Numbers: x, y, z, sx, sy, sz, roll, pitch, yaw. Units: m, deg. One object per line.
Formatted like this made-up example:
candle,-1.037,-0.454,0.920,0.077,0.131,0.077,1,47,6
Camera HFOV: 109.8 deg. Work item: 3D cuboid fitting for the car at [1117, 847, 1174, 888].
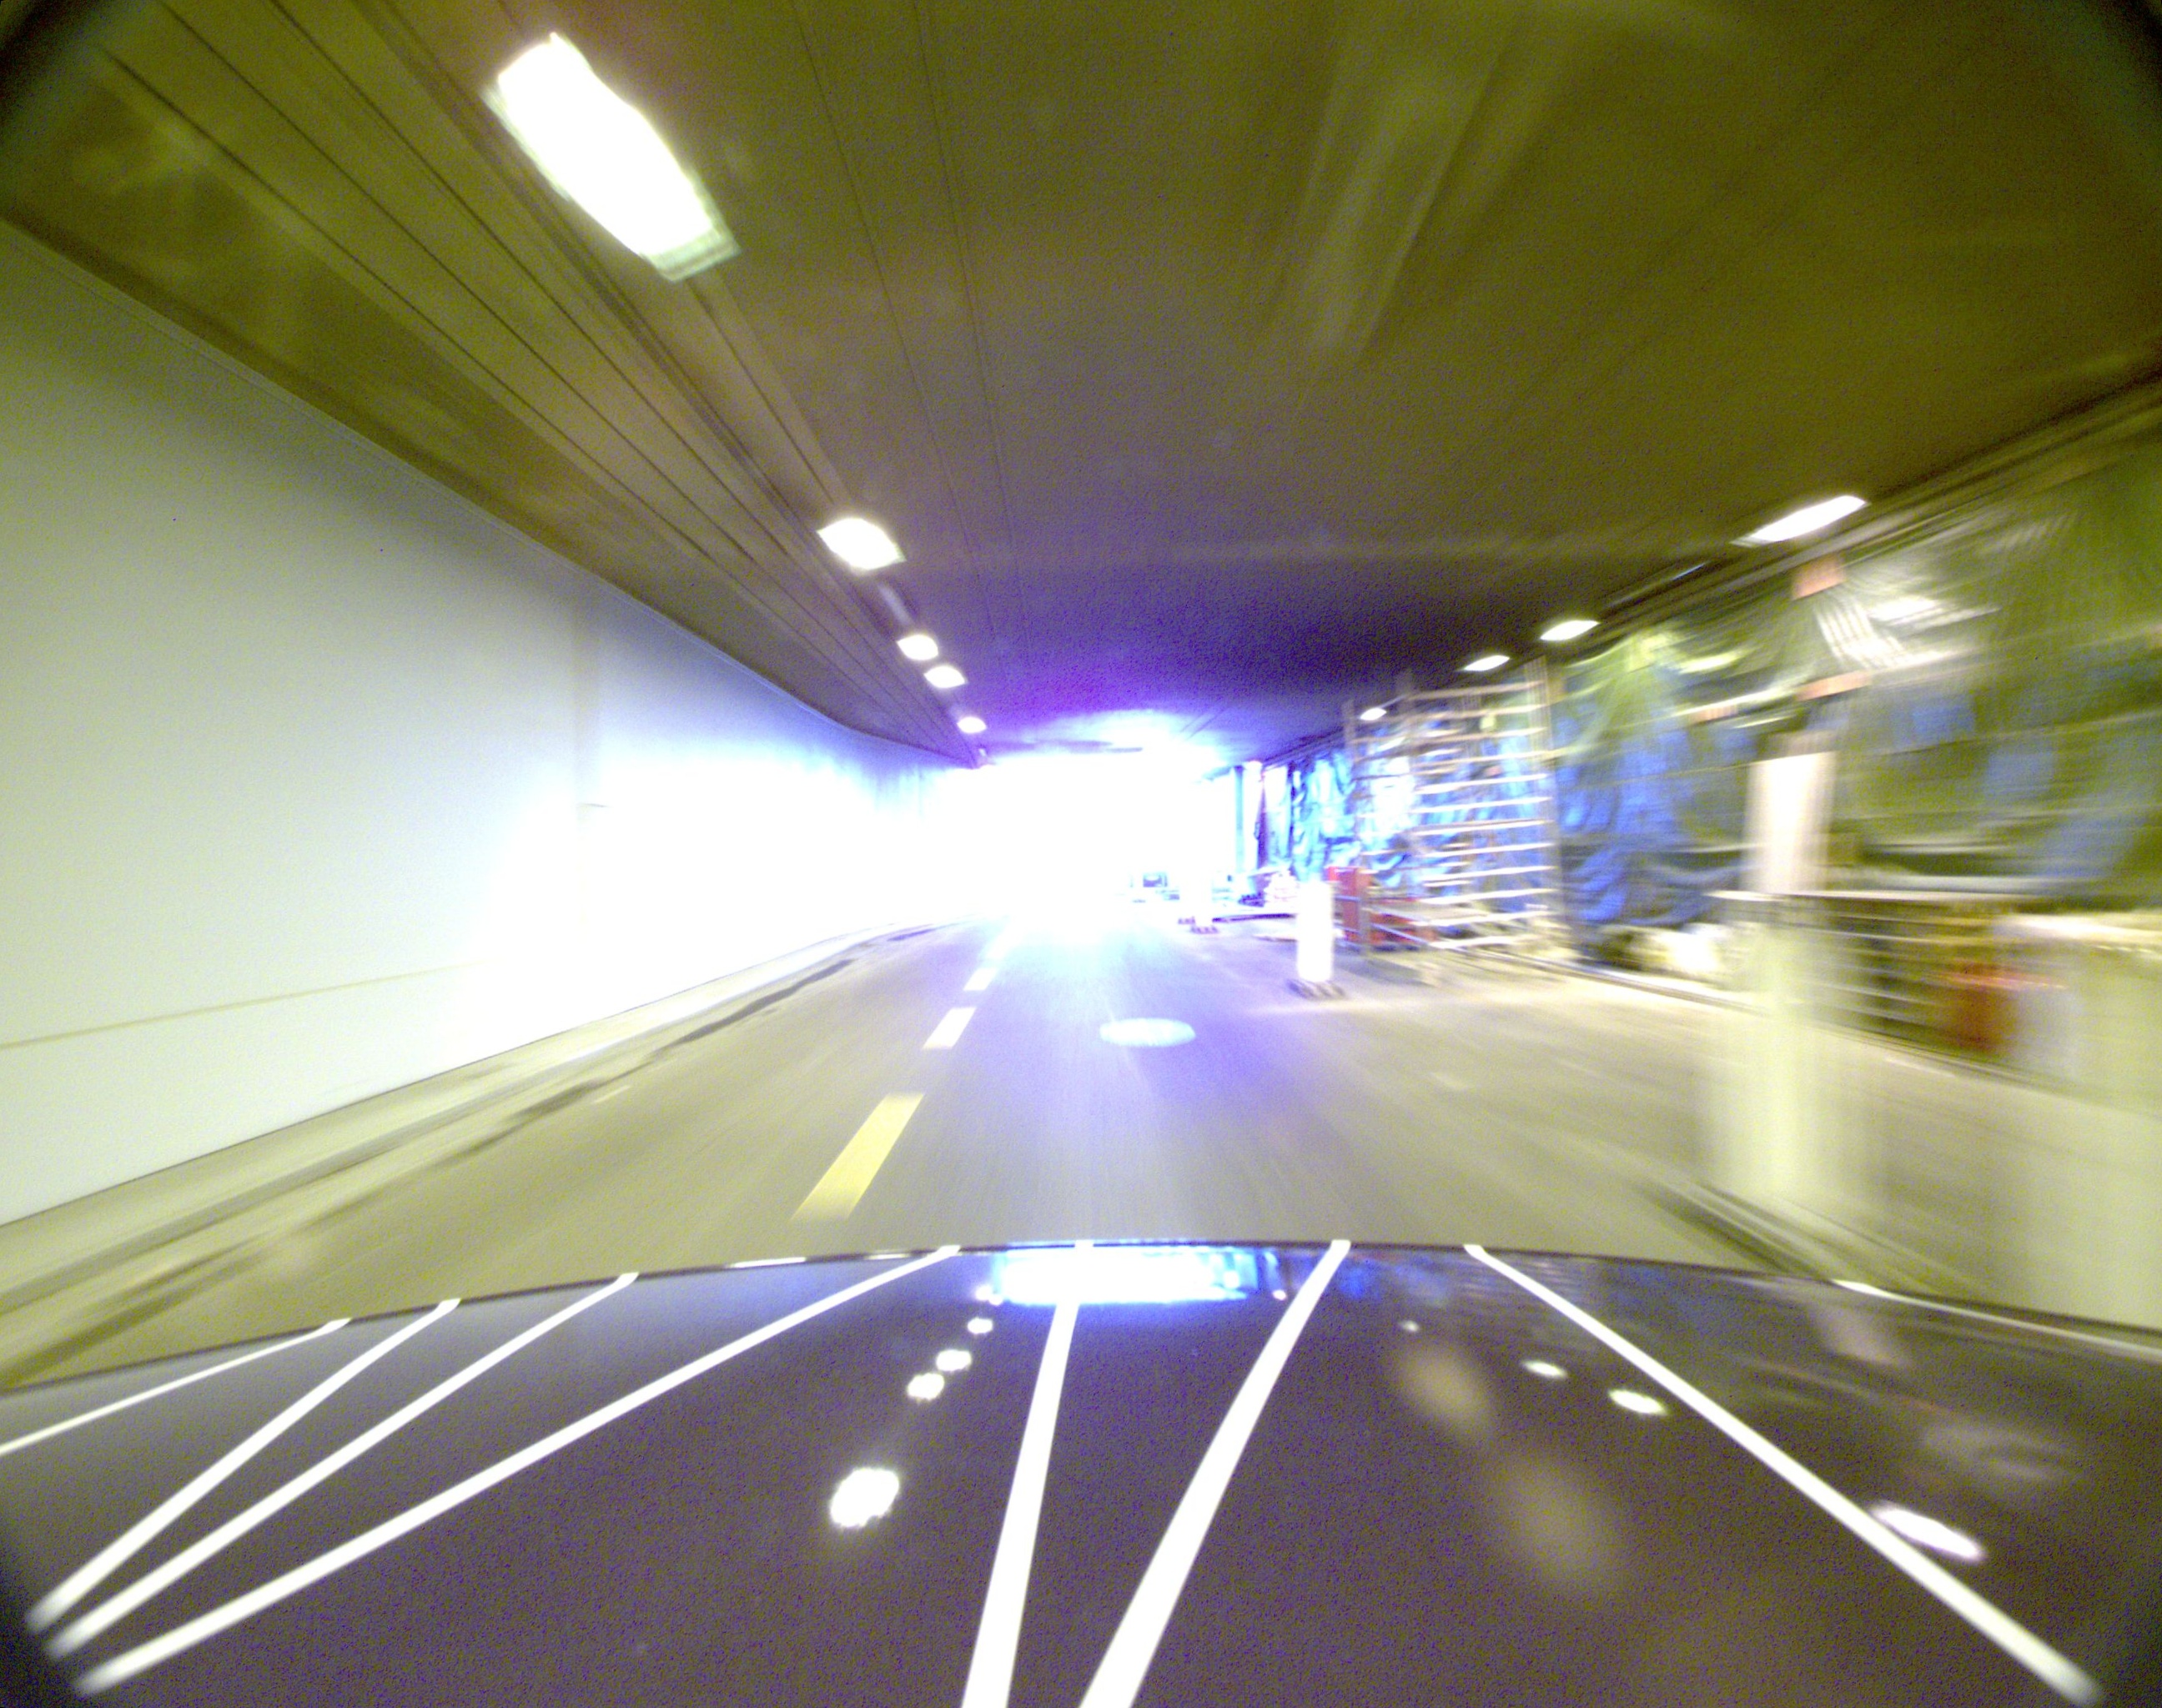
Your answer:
car,2.990,0.574,36.341,1.854,1.765,4.431,-2,1,-6

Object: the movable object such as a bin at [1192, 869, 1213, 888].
movable object such as a bin,5.161,1.036,32.291,0.653,0.737,1.030,-1,2,-7

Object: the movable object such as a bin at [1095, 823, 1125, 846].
movable object such as a bin,2.614,-1.812,68.992,1.892,1.976,3.153,-2,3,-14
